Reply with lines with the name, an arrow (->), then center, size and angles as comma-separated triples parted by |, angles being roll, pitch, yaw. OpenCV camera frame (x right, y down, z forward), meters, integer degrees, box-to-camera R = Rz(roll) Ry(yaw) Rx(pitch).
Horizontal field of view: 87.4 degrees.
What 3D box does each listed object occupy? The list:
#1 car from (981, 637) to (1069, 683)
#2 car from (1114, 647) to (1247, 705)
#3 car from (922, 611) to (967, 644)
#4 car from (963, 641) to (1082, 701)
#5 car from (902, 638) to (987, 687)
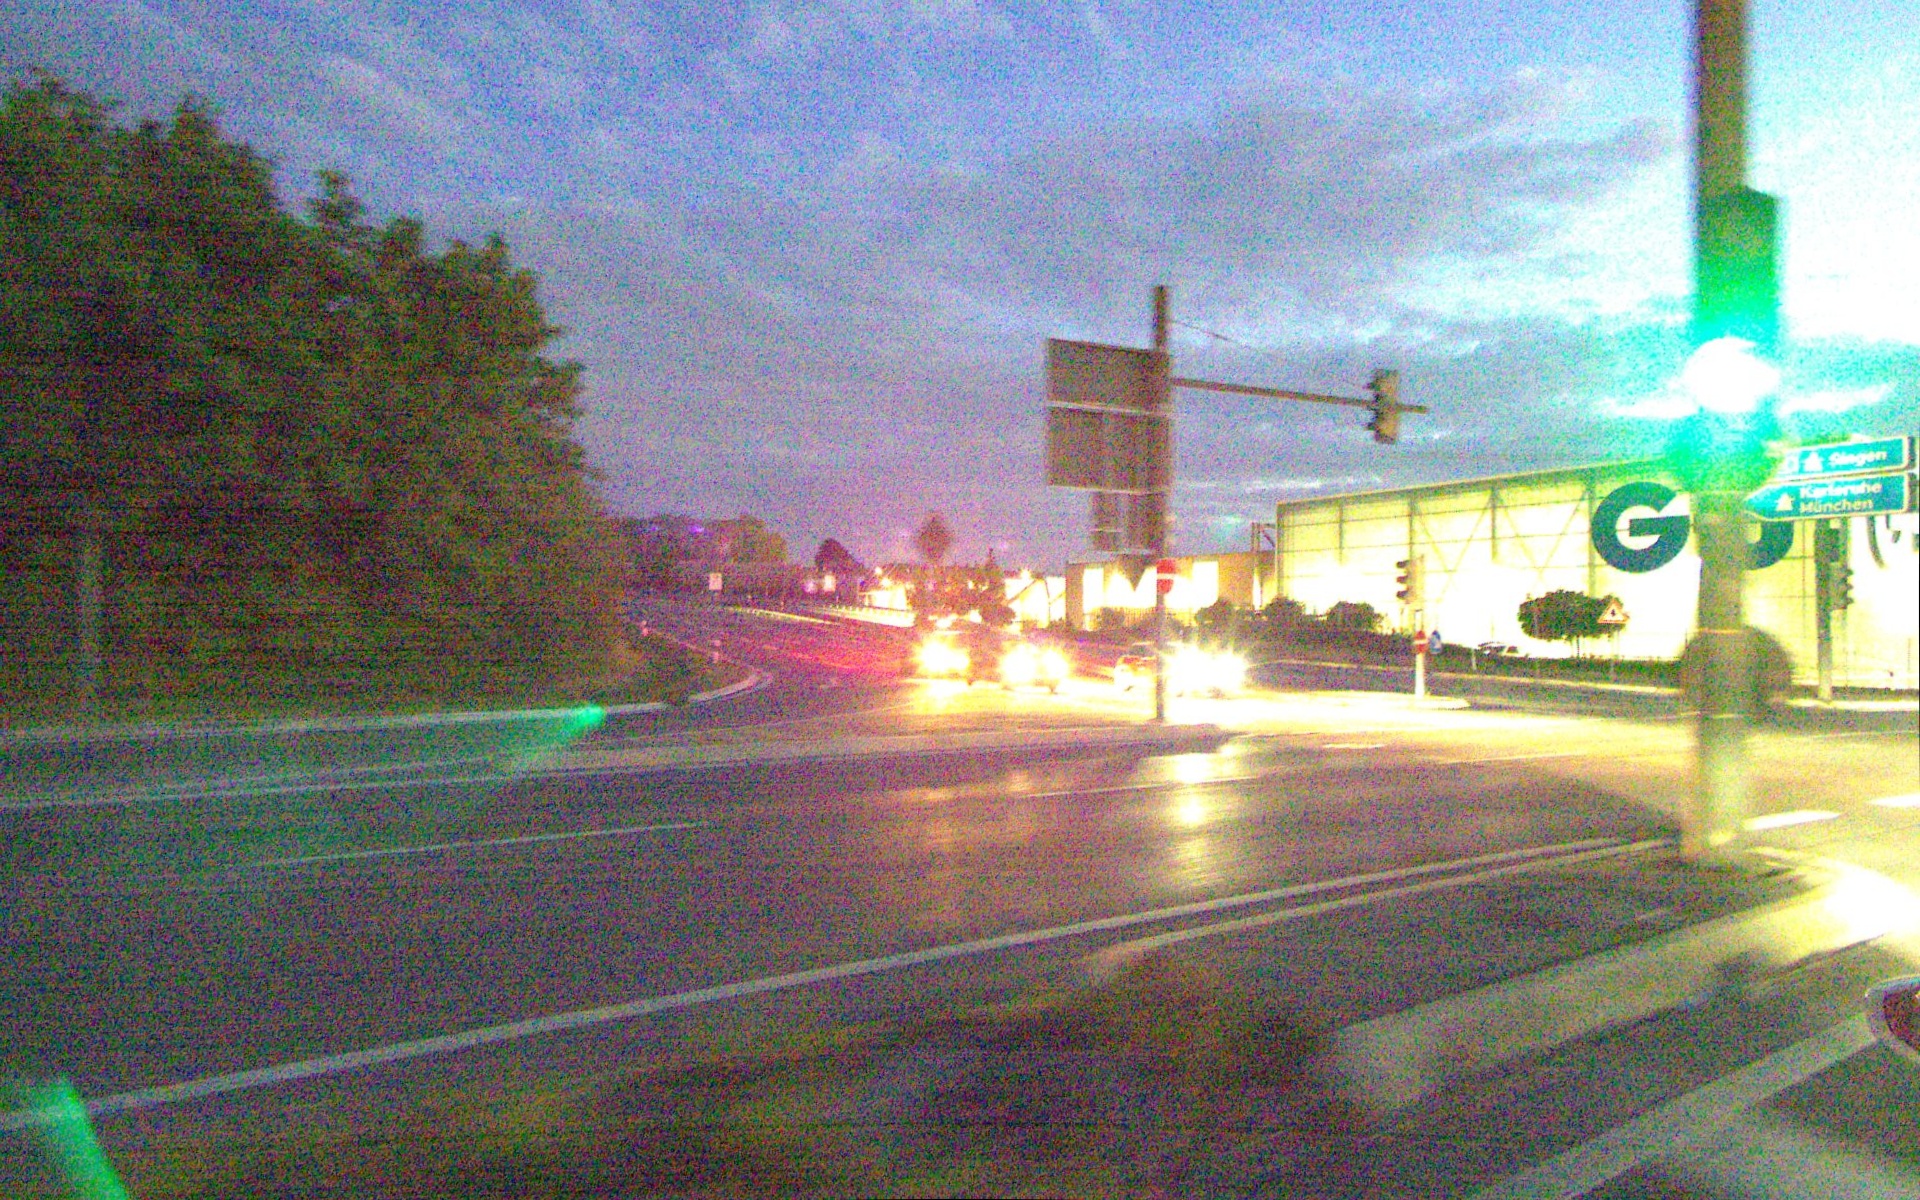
car -> 2.382, 2.229, 37.859 | 1.691, 1.463, 3.963 | 2, 0, -23
car -> 6.127, 2.107, 28.324 | 1.681, 1.494, 3.848 | 3, -3, -24
car -> -1.092, 1.854, 69.218 | 1.969, 2.040, 3.983 | 3, 0, -18
car -> 1.692, 1.979, 28.570 | 1.735, 1.479, 3.978 | 3, -2, -23
car -> -0.603, 2.133, 35.049 | 1.665, 1.479, 3.792 | 1, -1, -23
